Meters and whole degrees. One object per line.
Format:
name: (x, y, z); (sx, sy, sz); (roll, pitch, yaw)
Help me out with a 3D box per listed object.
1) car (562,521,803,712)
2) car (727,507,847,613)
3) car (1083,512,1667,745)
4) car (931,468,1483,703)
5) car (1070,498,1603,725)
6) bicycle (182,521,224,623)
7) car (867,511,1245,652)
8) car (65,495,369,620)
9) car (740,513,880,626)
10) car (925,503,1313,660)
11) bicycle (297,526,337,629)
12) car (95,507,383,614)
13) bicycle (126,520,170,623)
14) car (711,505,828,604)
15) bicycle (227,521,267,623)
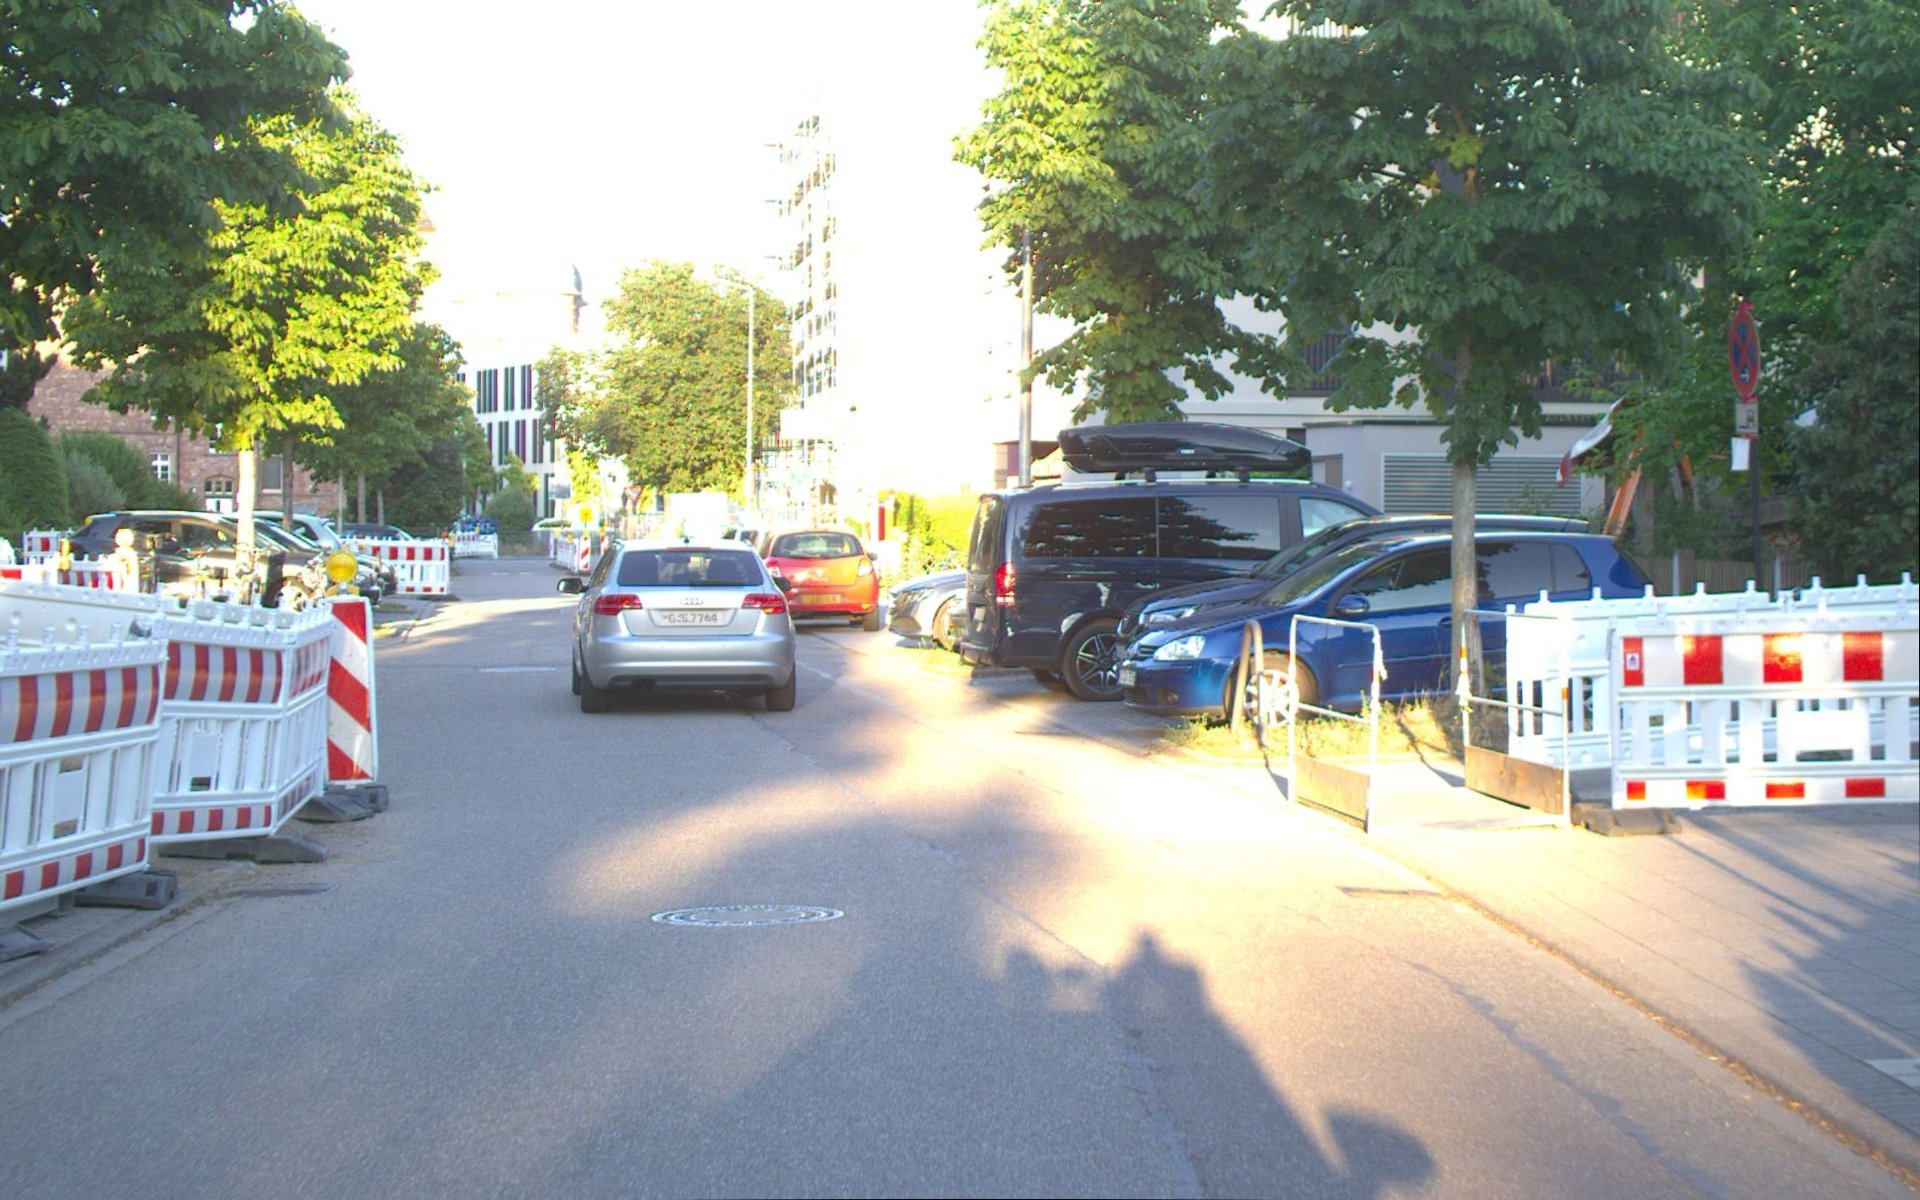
car: (-2.412, 0.090, 29.054); (1.807, 1.483, 4.001); (1, 1, -8)
car: (-2.754, -0.653, 54.108); (1.663, 1.568, 3.441); (1, 2, -6)
car: (3.097, 0.201, 25.978); (3.986, 1.645, 1.765); (1, 2, -12)
car: (2.164, -0.148, 30.902); (4.555, 2.016, 2.102); (0, 2, -10)
car: (3.078, 0.072, 28.588); (3.986, 1.762, 2.001); (1, 2, -9)
bicycle: (-9.473, -0.366, 43.037); (0.406, 1.223, 1.988); (1, 2, -10)
car: (1.113, -0.231, 40.822); (4.148, 1.566, 1.798); (1, 2, -12)
car: (-10.226, -0.595, 47.576); (3.986, 1.620, 2.001); (1, 2, -9)
car: (-2.146, -0.457, 48.532); (1.730, 1.478, 3.558); (1, 2, -6)
car: (1.744, -0.217, 38.421); (3.938, 1.643, 1.977); (1, 2, -12)
bicycle: (-8.061, -0.296, 43.064); (0.405, 1.223, 1.988); (1, 2, -13)
car: (-10.443, -0.582, 50.051); (3.986, 1.475, 2.001); (1, 1, -9)
bicycle: (-10.115, -0.367, 42.850); (0.406, 1.223, 1.988); (1, 2, -10)
car: (-3.300, -0.803, 58.959); (1.808, 1.607, 3.582); (1, 2, -6)
bicycle: (-8.928, -0.370, 43.063); (0.406, 1.223, 1.988); (1, 2, -10)
